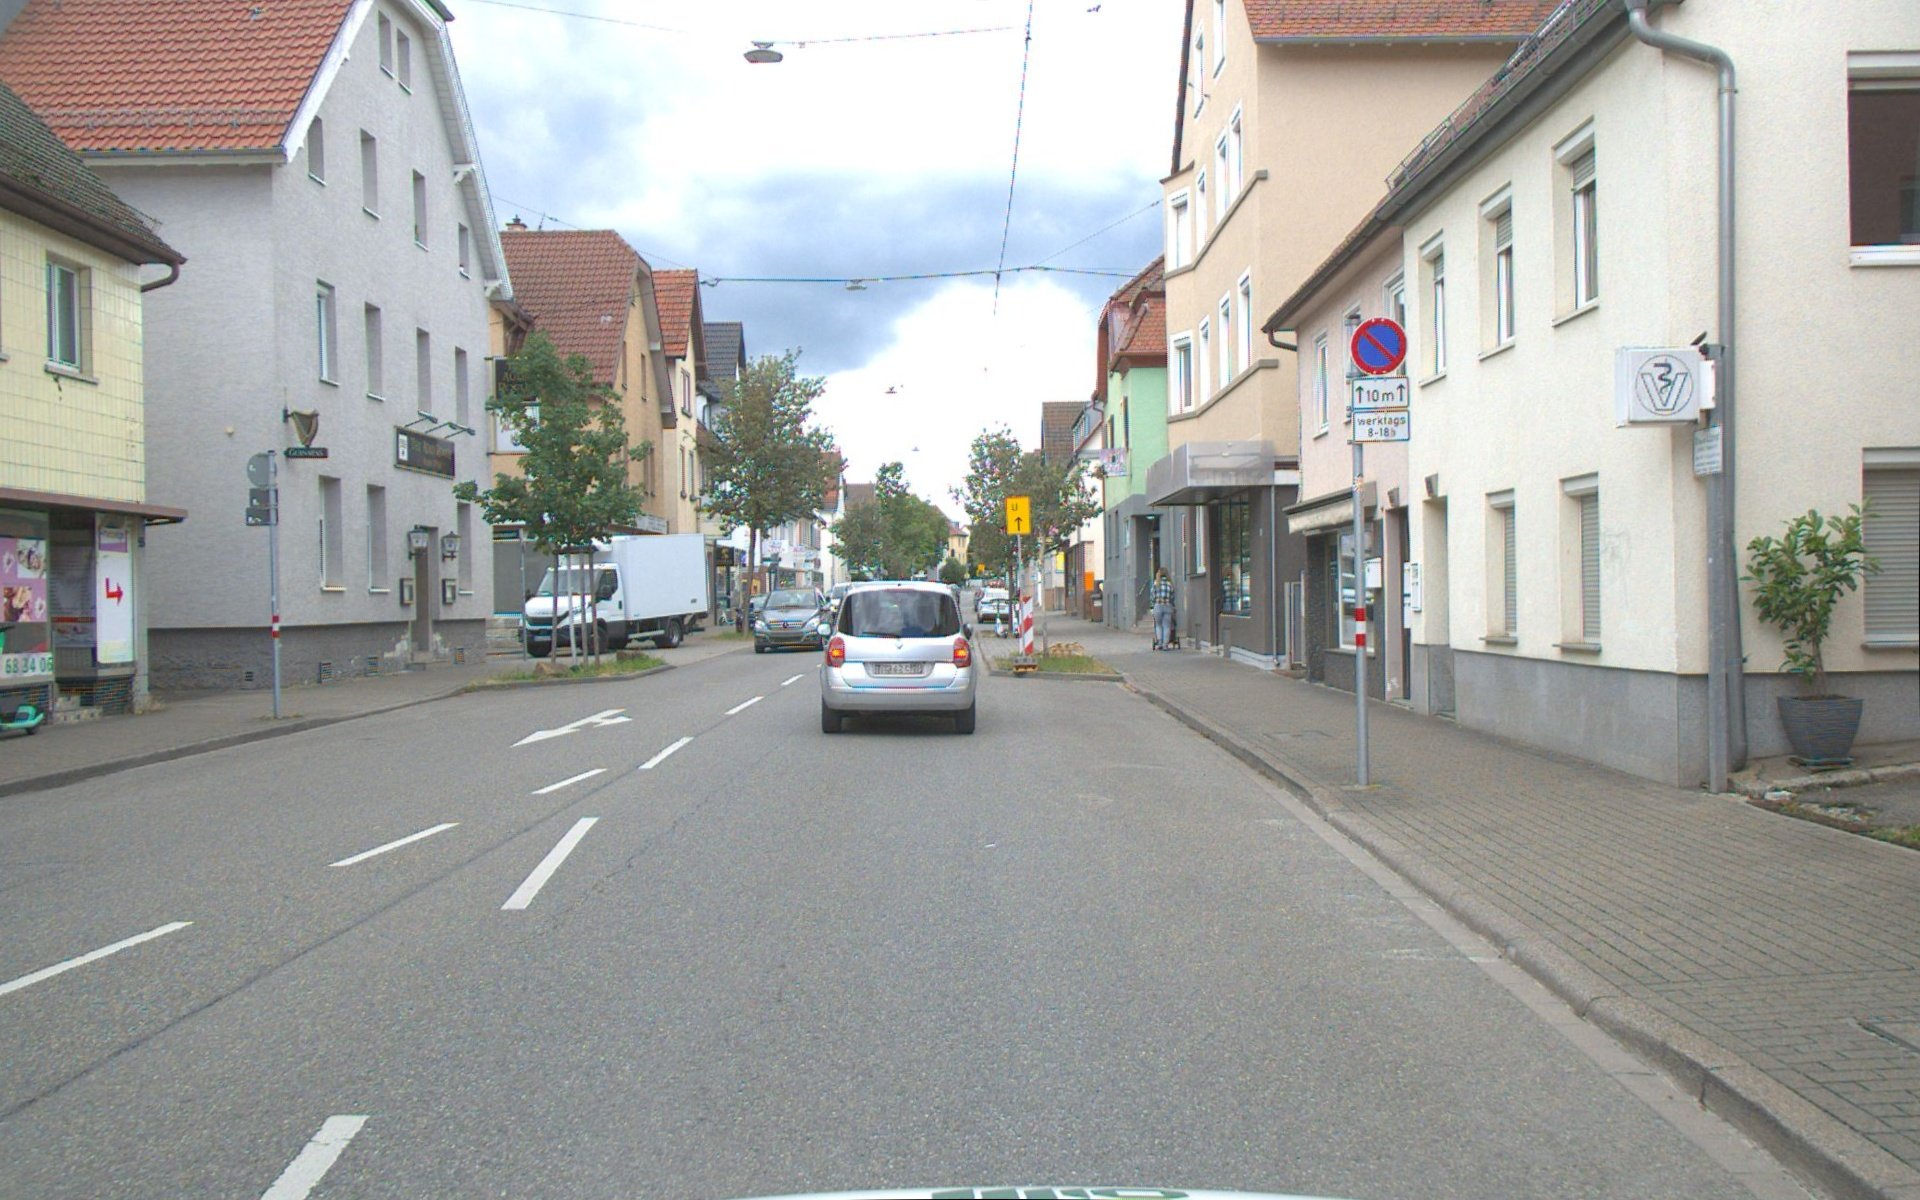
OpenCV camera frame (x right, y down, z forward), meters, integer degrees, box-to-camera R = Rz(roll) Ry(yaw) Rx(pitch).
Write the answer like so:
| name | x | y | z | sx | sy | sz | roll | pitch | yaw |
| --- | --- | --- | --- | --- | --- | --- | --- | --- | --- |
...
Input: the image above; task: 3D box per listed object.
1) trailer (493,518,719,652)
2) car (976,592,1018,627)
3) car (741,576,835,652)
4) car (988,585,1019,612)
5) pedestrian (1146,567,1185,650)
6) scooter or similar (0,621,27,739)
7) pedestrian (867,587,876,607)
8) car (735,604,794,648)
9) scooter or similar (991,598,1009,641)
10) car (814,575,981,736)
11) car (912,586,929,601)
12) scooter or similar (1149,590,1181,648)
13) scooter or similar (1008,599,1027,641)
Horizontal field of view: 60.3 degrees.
| name | x | y | z | sx | sy | sz | roll | pitch | yaw |
| --- | --- | --- | --- | --- | --- | --- | --- | --- | --- |
| trailer | -9.255 | -0.361 | 44.164 | 2.451 | 3.275 | 7.136 | 0 | 0 | 20 |
| car | 1.612 | 0.413 | 72.747 | 1.793 | 1.471 | 4.332 | 1 | 0 | 1 |
| car | -4.386 | 0.337 | 42.788 | 1.953 | 1.827 | 4.277 | -1 | 0 | 0 |
| car | 2.568 | -0.079 | 98.052 | 1.793 | 1.524 | 3.994 | 1 | 0 | 1 |
| pedestrian | 4.404 | 0.173 | 35.494 | 0.735 | 1.750 | 0.900 | 1 | 0 | 0 |
| scooter or similar | -10.020 | 0.813 | 16.421 | 0.517 | 1.190 | 1.721 | 1 | 0 | 0 |
| pedestrian | -7.866 | -0.267 | 147.086 | 0.747 | 1.822 | 0.890 | 1 | 0 | 0 |
| car | -6.997 | 0.901 | 59.426 | 1.648 | 1.449 | 3.930 | -2 | 0 | 0 |
| scooter or similar | 1.207 | 0.585 | 49.837 | 0.491 | 1.257 | 1.942 | 1 | 0 | 0 |
| car | -0.601 | 0.555 | 18.679 | 1.647 | 1.593 | 3.994 | 1 | 0 | 1 |
| car | -4.844 | -0.762 | 205.053 | 1.861 | 1.768 | 4.366 | -2 | 0 | 1 |
| scooter or similar | 4.511 | 0.417 | 36.421 | 0.577 | 1.254 | 0.891 | 1 | 0 | 0 |
| scooter or similar | 1.731 | 0.588 | 49.851 | 0.491 | 1.257 | 1.942 | 1 | 0 | 0 |
